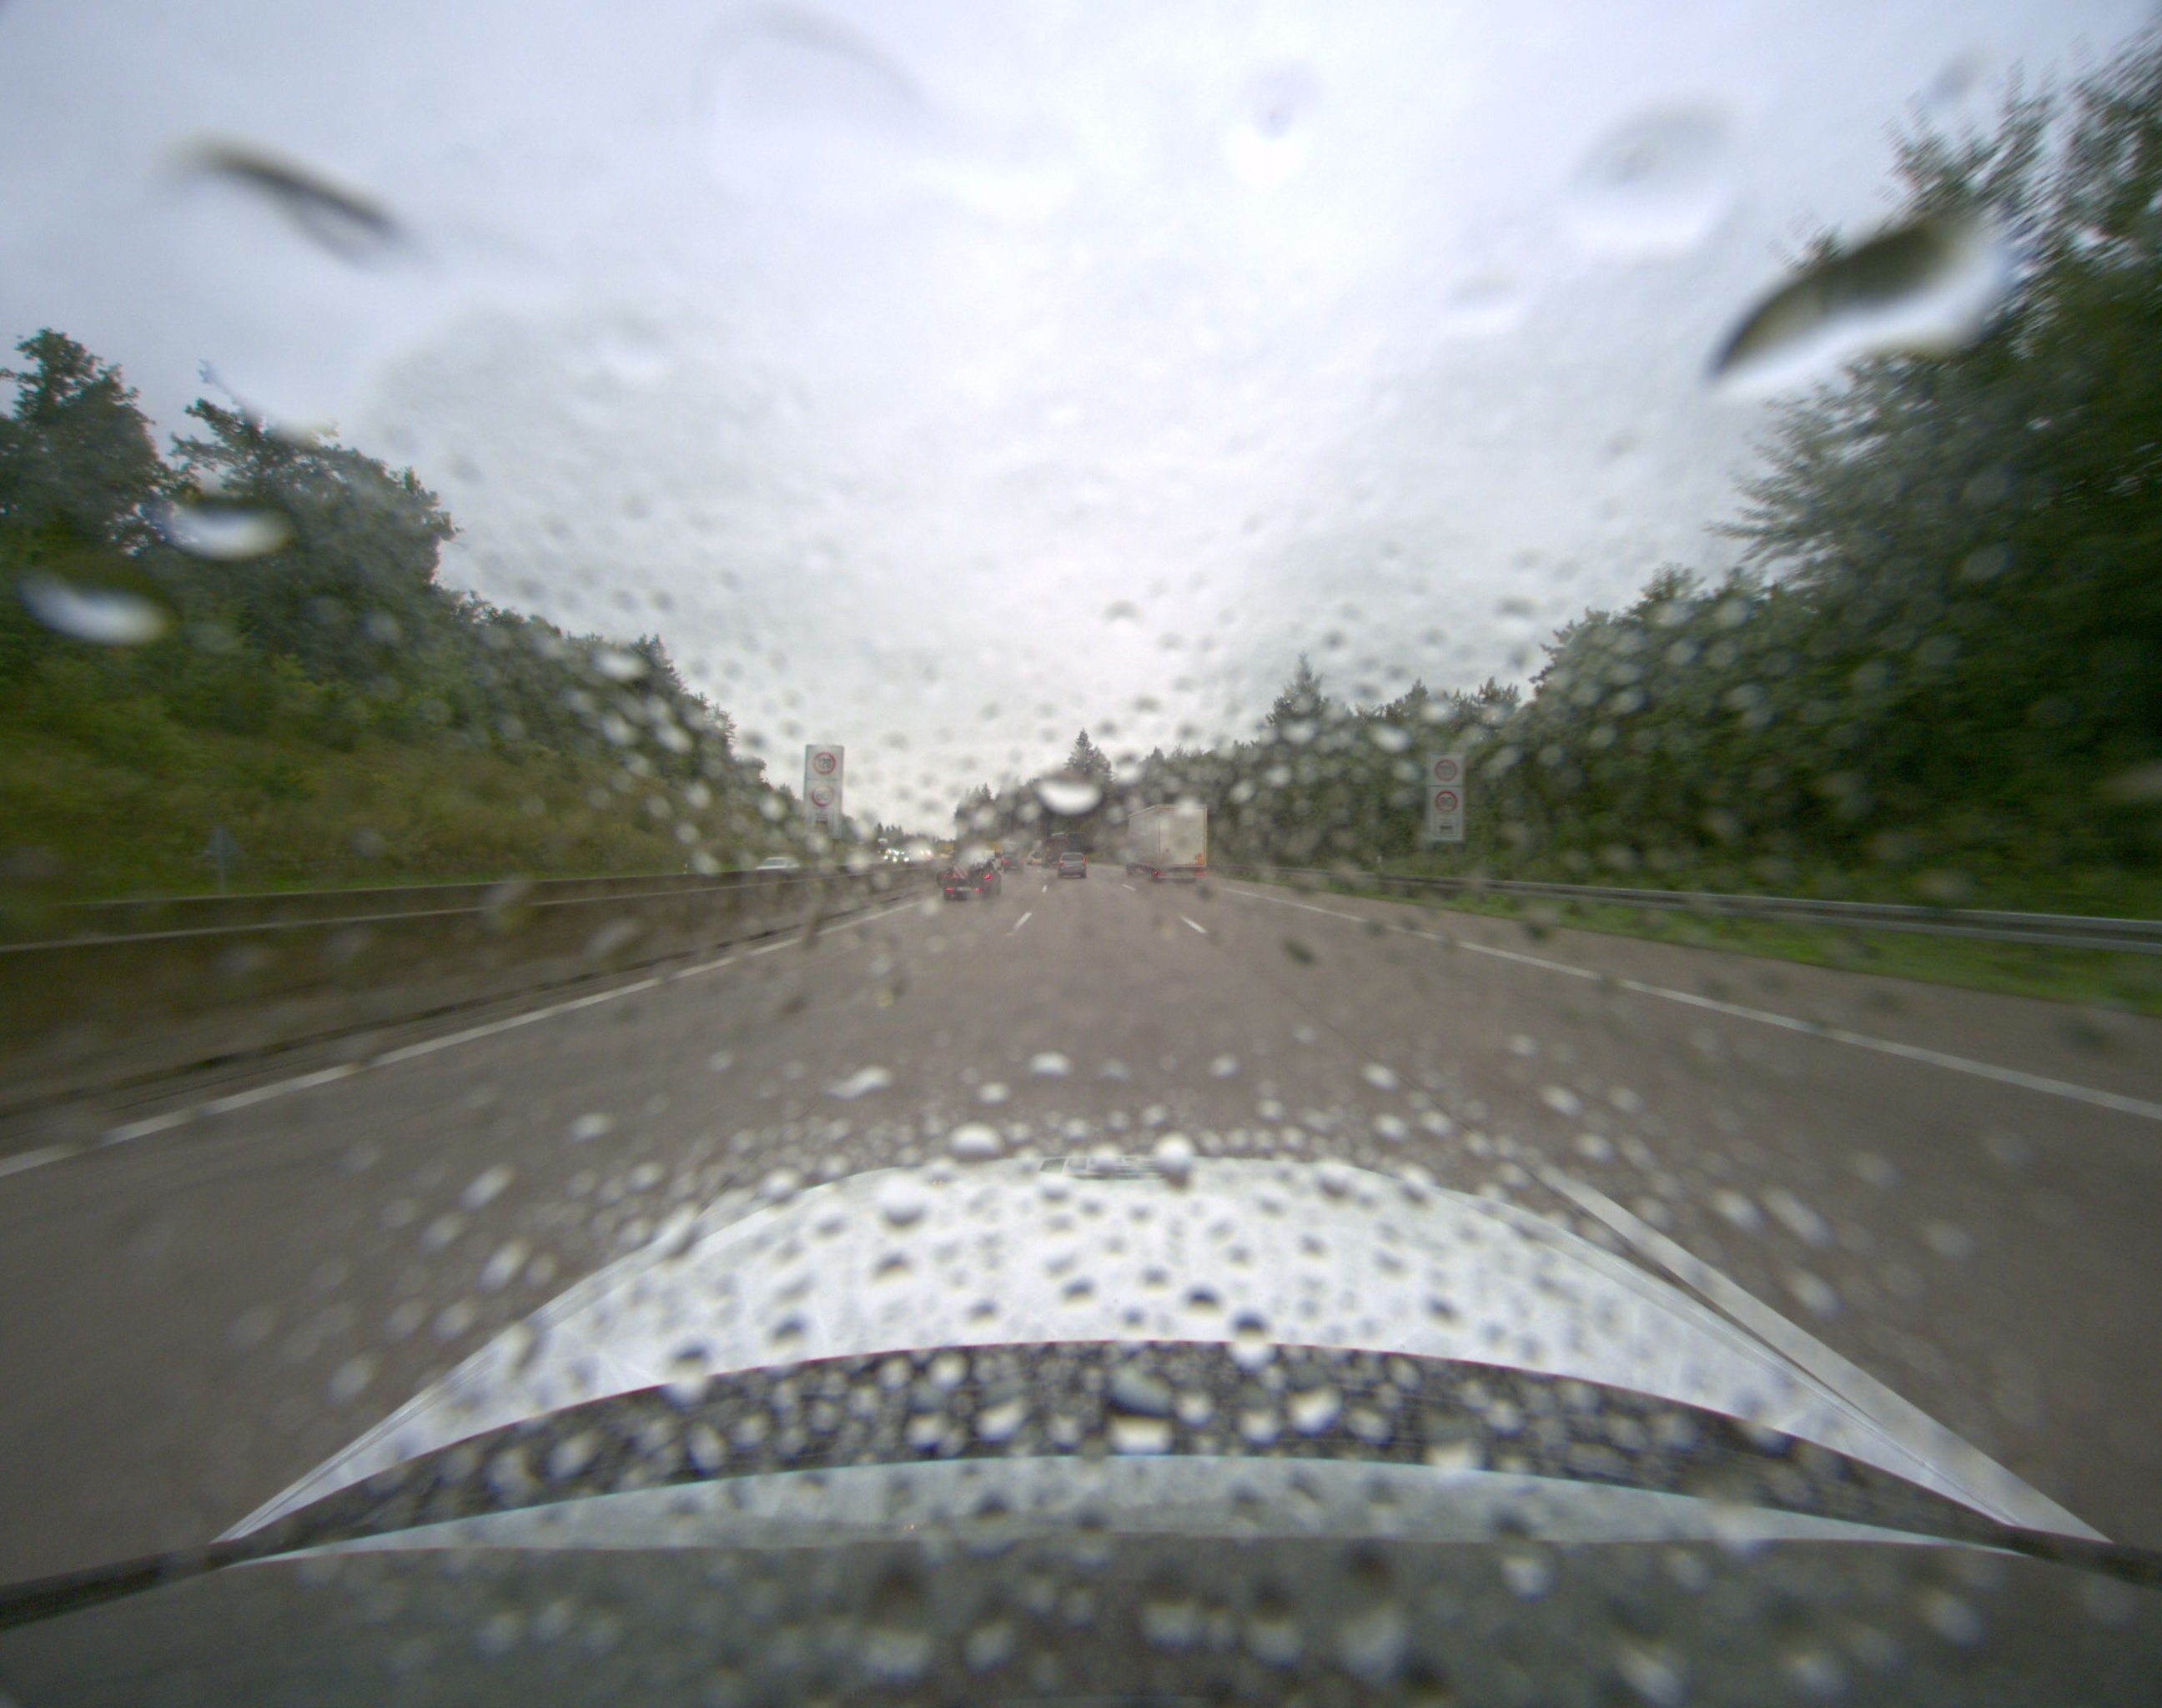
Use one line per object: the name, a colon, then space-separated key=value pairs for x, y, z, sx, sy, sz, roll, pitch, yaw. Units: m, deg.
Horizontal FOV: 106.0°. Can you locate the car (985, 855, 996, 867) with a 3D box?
car: x=-14.970 y=1.154 z=134.663 sx=1.725 sy=2.014 sz=3.645 roll=-1 pitch=-1 yaw=-9

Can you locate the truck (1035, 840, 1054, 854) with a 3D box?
truck: x=-6.214 y=-1.177 z=137.635 sx=2.970 sy=2.309 sz=6.654 roll=1 pitch=0 yaw=-6

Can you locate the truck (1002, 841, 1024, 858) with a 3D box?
truck: x=-11.616 y=-0.798 z=138.845 sx=3.083 sy=2.905 sz=7.876 roll=-1 pitch=1 yaw=-10

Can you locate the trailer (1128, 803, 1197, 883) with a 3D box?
trailer: x=4.517 y=-0.615 z=47.701 sx=2.413 sy=4.068 sz=12.045 roll=-1 pitch=0 yaw=-2

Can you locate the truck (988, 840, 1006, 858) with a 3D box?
truck: x=-20.103 y=-1.164 z=195.240 sx=3.740 sy=4.210 sz=6.794 roll=-1 pitch=-1 yaw=-10

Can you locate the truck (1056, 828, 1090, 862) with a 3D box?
truck: x=-1.130 y=-1.145 z=104.921 sx=3.364 sy=4.131 sz=10.417 roll=-1 pitch=0 yaw=-5

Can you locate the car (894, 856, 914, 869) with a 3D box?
car: x=-22.363 y=1.030 z=102.856 sx=1.773 sy=1.638 sz=3.995 roll=-1 pitch=0 yaw=-3

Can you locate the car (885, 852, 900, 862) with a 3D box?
car: x=-31.271 y=0.504 z=135.332 sx=1.773 sy=1.638 sz=4.247 roll=-1 pitch=0 yaw=-4

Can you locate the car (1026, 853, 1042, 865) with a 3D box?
car: x=-5.868 y=0.605 z=101.541 sx=1.878 sy=1.473 sz=3.995 roll=1 pitch=0 yaw=-4

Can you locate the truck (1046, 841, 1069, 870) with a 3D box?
truck: x=-2.470 y=0.110 z=86.451 sx=2.262 sy=2.886 sz=7.901 roll=-1 pitch=1 yaw=-1

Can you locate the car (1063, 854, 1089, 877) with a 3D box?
car: x=-0.370 y=0.708 z=51.487 sx=1.549 sy=1.351 sz=3.681 roll=1 pitch=0 yaw=-2

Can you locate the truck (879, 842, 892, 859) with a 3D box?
truck: x=-51.210 y=-1.014 z=213.049 sx=2.745 sy=4.284 sz=8.287 roll=-1 pitch=0 yaw=-10

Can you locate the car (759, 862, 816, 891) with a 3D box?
car: x=-16.728 y=1.276 z=46.620 sx=1.771 sy=1.518 sz=4.000 roll=-1 pitch=0 yaw=0

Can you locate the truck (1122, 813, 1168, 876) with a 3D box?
truck: x=4.245 y=-0.633 z=54.881 sx=2.414 sy=4.068 sz=4.973 roll=-1 pitch=0 yaw=-3

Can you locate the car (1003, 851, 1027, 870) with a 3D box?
car: x=-5.341 y=0.483 z=66.040 sx=1.679 sy=1.462 sz=3.681 roll=1 pitch=0 yaw=-1

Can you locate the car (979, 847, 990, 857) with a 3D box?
car: x=-21.322 y=-0.515 z=180.058 sx=1.995 sy=2.059 sz=3.983 roll=-1 pitch=-1 yaw=-12
